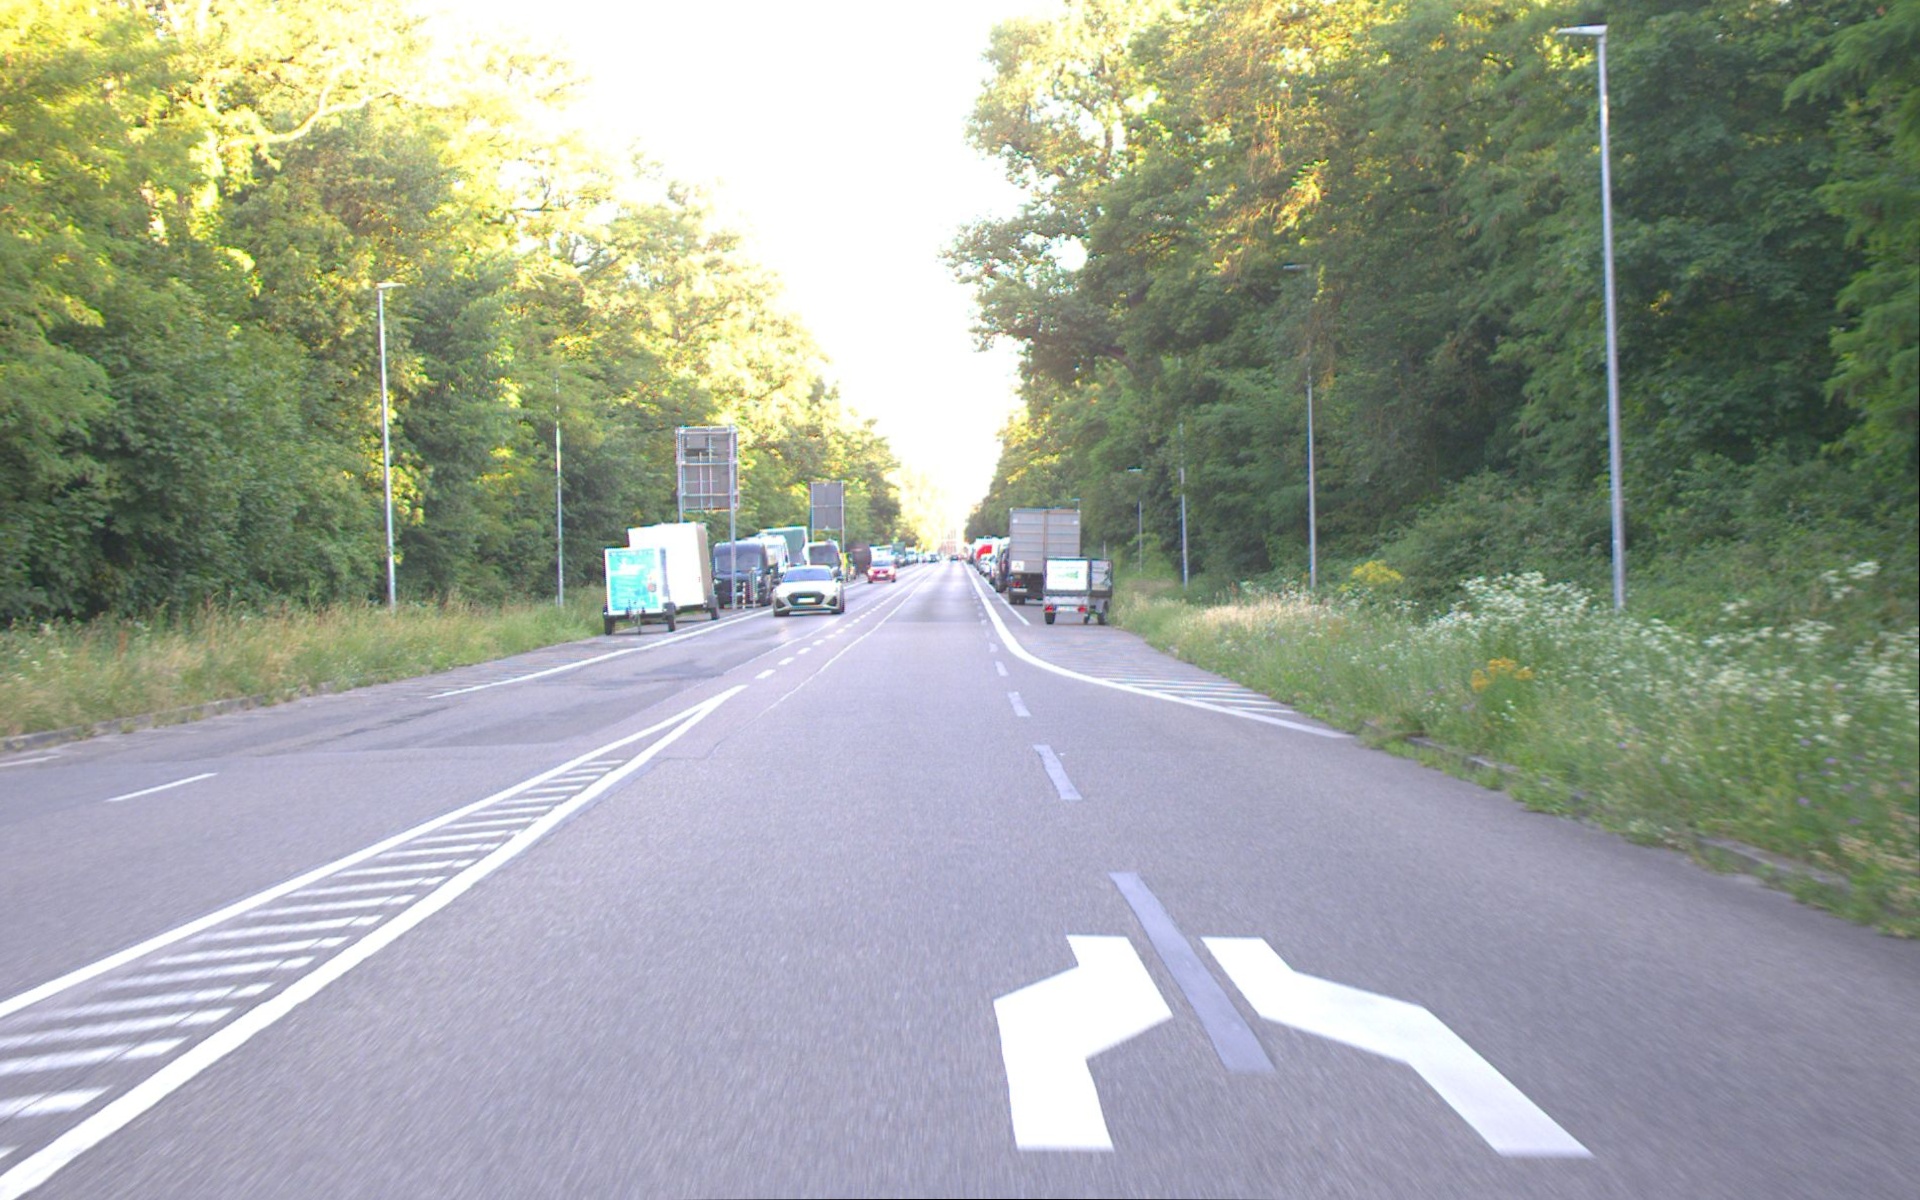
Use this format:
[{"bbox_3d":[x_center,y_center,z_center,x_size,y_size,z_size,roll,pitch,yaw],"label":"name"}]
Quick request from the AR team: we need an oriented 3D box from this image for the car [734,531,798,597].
[{"bbox_3d":[-8.044,-1.515,142.849,2.249,2.638,5.721,-2,1,0],"label":"car"}]

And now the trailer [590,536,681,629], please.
[{"bbox_3d":[-7.934,-0.450,84.382,1.817,2.160,4.143,-2,1,-1],"label":"trailer"}]

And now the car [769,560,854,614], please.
[{"bbox_3d":[-4.348,-0.395,101.291,2.064,1.430,4.465,-3,1,2],"label":"car"}]

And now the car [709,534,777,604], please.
[{"bbox_3d":[-7.922,-1.152,126.149,1.993,2.356,5.766,-4,1,0],"label":"car"}]

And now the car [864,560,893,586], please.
[{"bbox_3d":[-4.959,-1.653,209.737,1.682,1.481,4.038,-2,1,-2],"label":"car"}]

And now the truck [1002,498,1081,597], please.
[{"bbox_3d":[2.756,-1.757,116.497,2.589,3.244,7.220,0,1,1],"label":"truck"}]

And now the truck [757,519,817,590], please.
[{"bbox_3d":[-8.451,-2.224,168.422,2.504,3.317,6.842,-2,1,0],"label":"truck"}]

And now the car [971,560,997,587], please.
[{"bbox_3d":[1.338,-1.475,189.252,1.147,1.247,2.754,-8,2,-2],"label":"car"}]

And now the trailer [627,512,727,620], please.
[{"bbox_3d":[-8.192,-1.008,99.990,2.326,2.914,5.627,-4,1,-1],"label":"trailer"}]

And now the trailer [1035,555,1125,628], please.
[{"bbox_3d":[2.964,-0.220,84.303,1.457,1.656,3.775,-2,1,13],"label":"trailer"}]

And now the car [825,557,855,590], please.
[{"bbox_3d":[-7.848,-1.711,224.712,1.700,2.007,4.000,-3,0,0],"label":"car"}]

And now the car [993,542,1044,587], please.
[{"bbox_3d":[2.527,-1.547,150.412,1.993,1.948,4.300,0,1,-2],"label":"car"}]

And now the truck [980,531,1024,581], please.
[{"bbox_3d":[2.210,-2.335,182.248,2.141,2.650,4.300,0,1,-2],"label":"truck"}]

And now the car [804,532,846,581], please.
[{"bbox_3d":[-7.975,-2.562,203.067,2.186,2.779,5.334,-2,1,0],"label":"car"}]

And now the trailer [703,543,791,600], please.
[{"bbox_3d":[-8.507,-1.159,137.327,1.965,2.147,3.926,-2,1,21],"label":"trailer"}]
